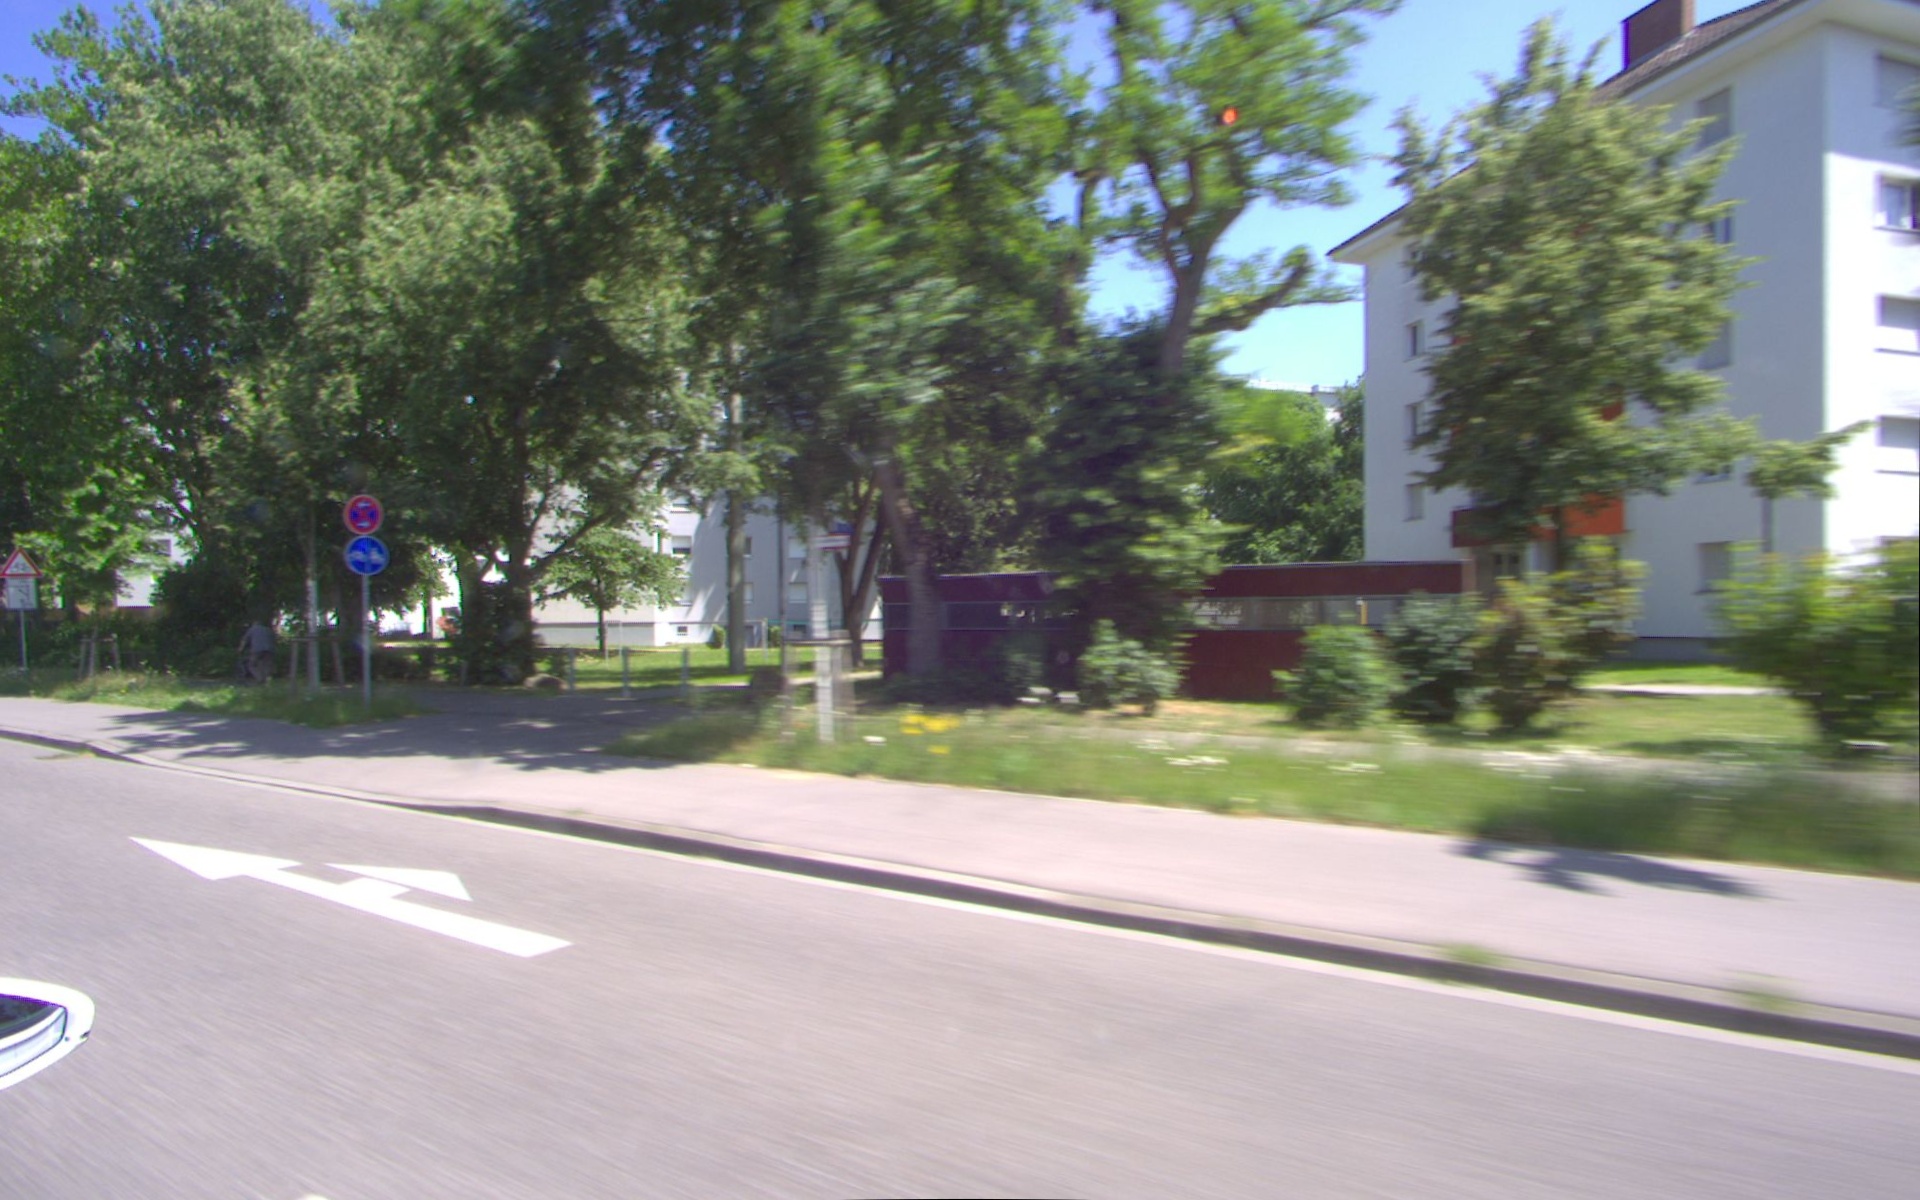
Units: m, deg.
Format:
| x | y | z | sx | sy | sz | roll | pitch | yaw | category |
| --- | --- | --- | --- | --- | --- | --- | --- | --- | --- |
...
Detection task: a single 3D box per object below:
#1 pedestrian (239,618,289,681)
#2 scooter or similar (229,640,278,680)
| x | y | z | sx | sy | sz | roll | pitch | yaw | category |
| --- | --- | --- | --- | --- | --- | --- | --- | --- | --- |
| -15.975 | 1.128 | 22.978 | 0.752 | 1.416 | 0.706 | 0 | -1 | 34 | pedestrian |
| -16.436 | 1.391 | 23.302 | 0.752 | 0.904 | 0.706 | 0 | -2 | 34 | scooter or similar |
